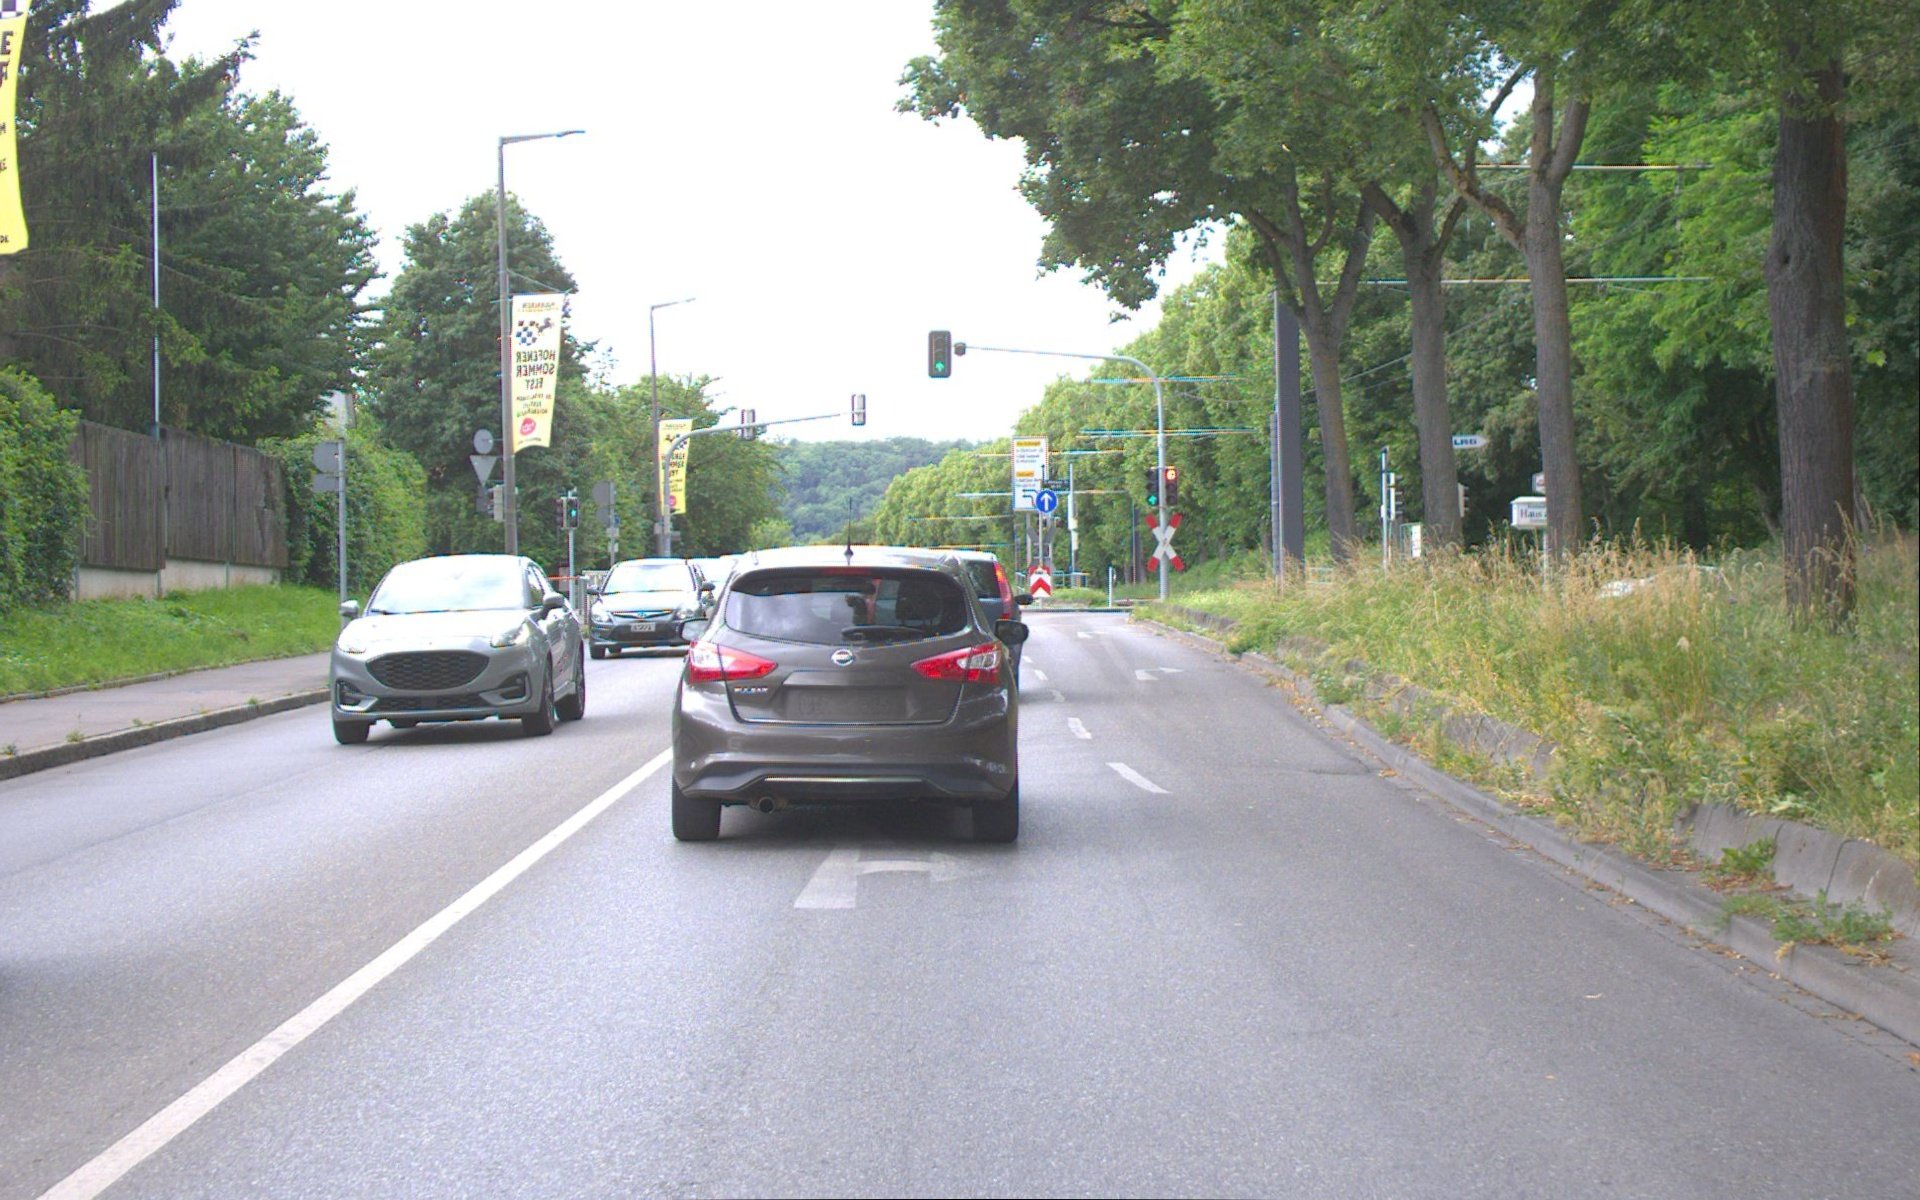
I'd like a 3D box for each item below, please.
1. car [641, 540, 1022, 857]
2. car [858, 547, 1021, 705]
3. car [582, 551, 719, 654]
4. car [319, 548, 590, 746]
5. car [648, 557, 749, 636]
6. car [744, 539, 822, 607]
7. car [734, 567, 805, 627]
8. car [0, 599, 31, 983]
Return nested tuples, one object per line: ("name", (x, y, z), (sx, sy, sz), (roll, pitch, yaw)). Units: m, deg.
("car", (-0.622, 0.440, 19.004), (1.835, 1.514, 4.483), (1, 1, 0))
("car", (-0.191, 0.214, 34.357), (1.538, 1.473, 3.764), (0, 1, 0))
("car", (-4.778, 0.009, 53.519), (1.728, 1.459, 4.154), (-2, 1, 0))
("car", (-4.304, 0.347, 29.819), (1.751, 1.513, 4.000), (-3, 1, -1))
("car", (-5.310, -0.093, 70.175), (1.618, 1.456, 4.072), (-4, 1, 1))
("car", (-4.116, -0.648, 80.323), (1.643, 1.476, 4.107), (-2, 1, -1))
("car", (-5.231, -0.095, 94.840), (1.812, 1.519, 4.178), (-2, 1, -2))
("car", (-4.445, 0.757, 10.532), (1.886, 1.378, 4.491), (-2, 1, 1))
